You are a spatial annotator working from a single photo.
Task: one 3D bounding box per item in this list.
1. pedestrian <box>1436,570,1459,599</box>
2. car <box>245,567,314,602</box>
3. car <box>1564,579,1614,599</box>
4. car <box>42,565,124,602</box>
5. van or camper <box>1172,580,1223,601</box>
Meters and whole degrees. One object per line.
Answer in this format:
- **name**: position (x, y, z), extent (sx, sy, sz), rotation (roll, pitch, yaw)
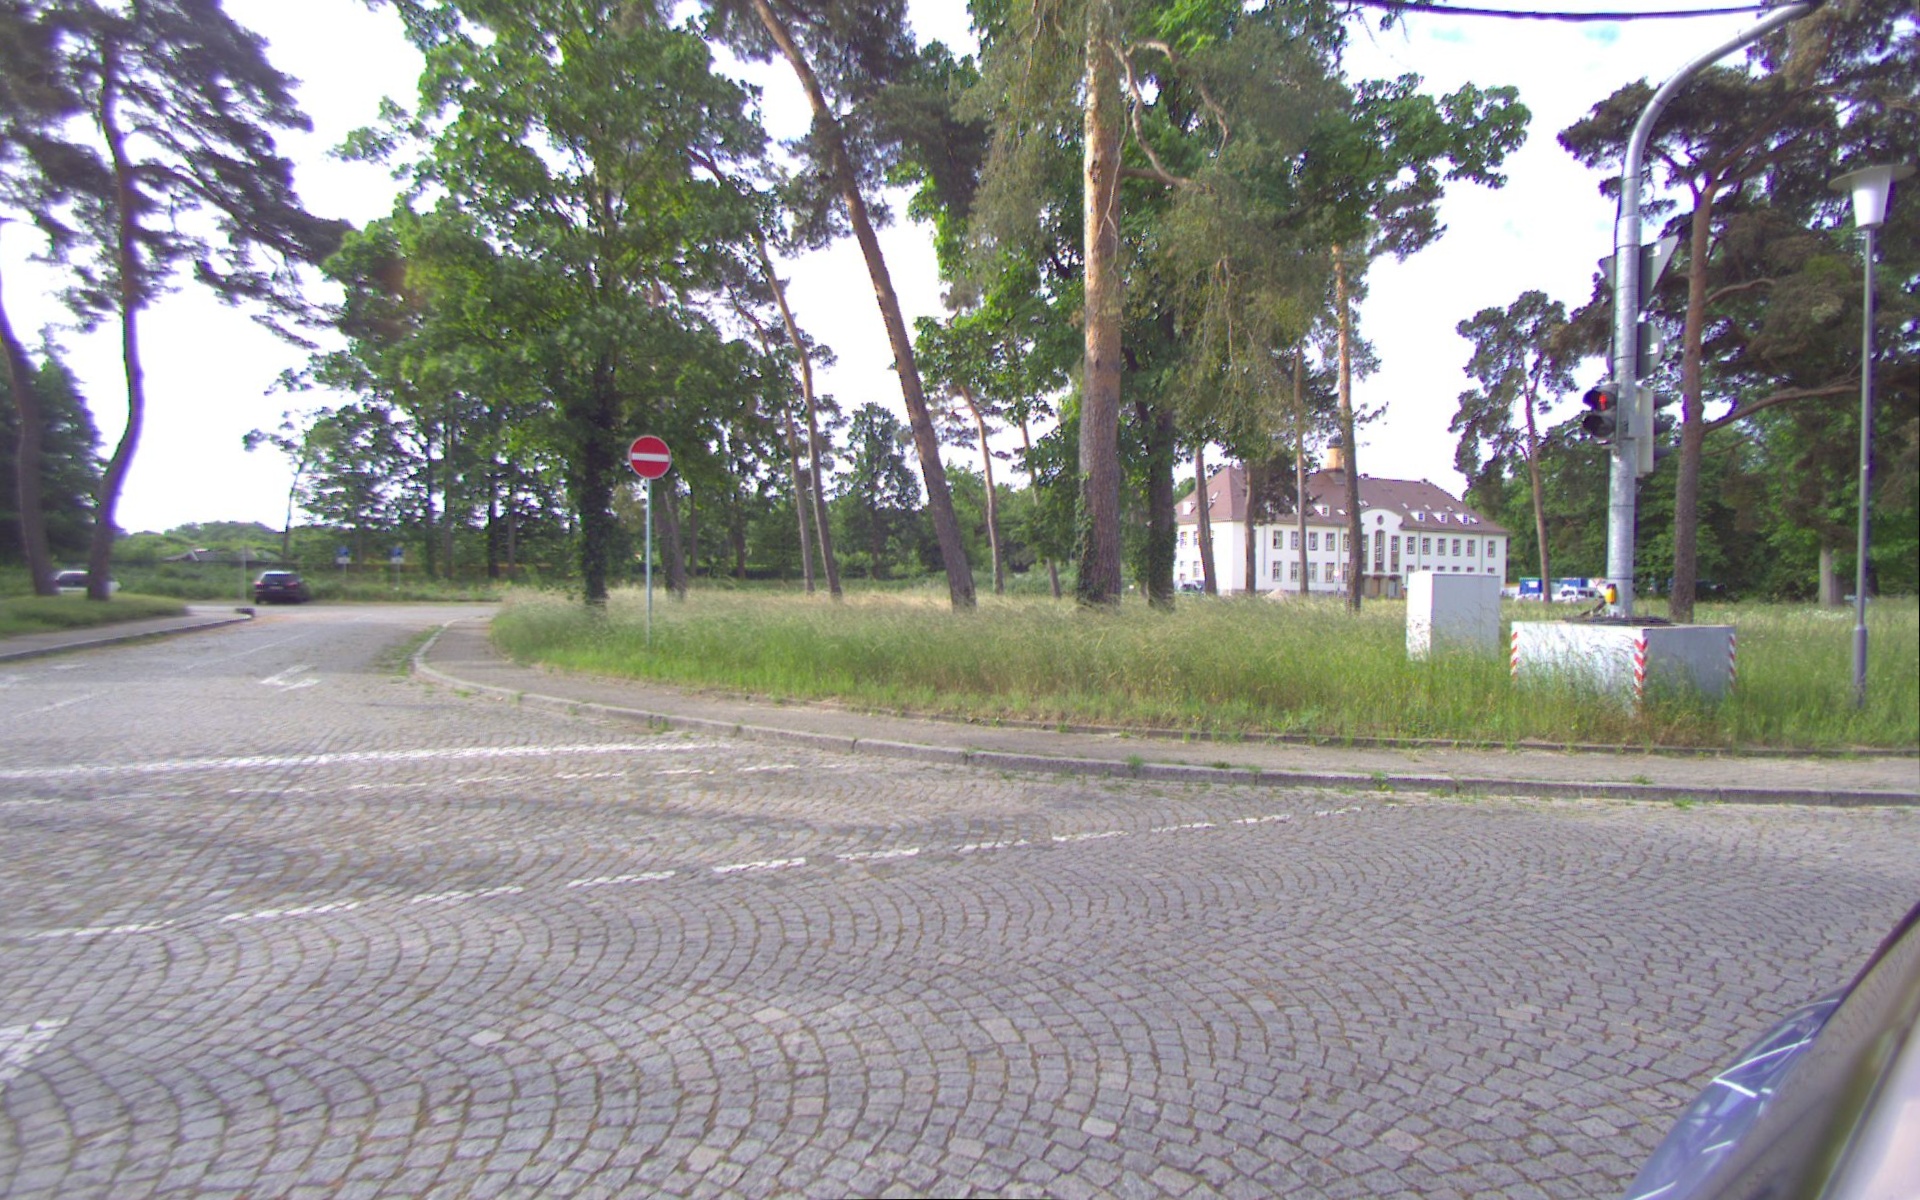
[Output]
- **pedestrian**: position (37.344, -1.177, 77.525), extent (1.034, 2.205, 1.187), rotation (0, 1, -24)
- **car**: position (-31.947, -0.733, 47.612), extent (1.958, 1.552, 4.008), rotation (0, 1, -23)
- **car**: position (65.572, -1.165, 105.467), extent (4.735, 2.039, 2.171), rotation (0, 1, -26)
- **car**: position (-39.039, -0.740, 45.144), extent (1.736, 1.552, 3.702), rotation (0, 1, -23)
- **van or camper**: position (27.488, -1.142, 117.520), extent (2.414, 2.335, 6.138), rotation (0, 1, -26)
